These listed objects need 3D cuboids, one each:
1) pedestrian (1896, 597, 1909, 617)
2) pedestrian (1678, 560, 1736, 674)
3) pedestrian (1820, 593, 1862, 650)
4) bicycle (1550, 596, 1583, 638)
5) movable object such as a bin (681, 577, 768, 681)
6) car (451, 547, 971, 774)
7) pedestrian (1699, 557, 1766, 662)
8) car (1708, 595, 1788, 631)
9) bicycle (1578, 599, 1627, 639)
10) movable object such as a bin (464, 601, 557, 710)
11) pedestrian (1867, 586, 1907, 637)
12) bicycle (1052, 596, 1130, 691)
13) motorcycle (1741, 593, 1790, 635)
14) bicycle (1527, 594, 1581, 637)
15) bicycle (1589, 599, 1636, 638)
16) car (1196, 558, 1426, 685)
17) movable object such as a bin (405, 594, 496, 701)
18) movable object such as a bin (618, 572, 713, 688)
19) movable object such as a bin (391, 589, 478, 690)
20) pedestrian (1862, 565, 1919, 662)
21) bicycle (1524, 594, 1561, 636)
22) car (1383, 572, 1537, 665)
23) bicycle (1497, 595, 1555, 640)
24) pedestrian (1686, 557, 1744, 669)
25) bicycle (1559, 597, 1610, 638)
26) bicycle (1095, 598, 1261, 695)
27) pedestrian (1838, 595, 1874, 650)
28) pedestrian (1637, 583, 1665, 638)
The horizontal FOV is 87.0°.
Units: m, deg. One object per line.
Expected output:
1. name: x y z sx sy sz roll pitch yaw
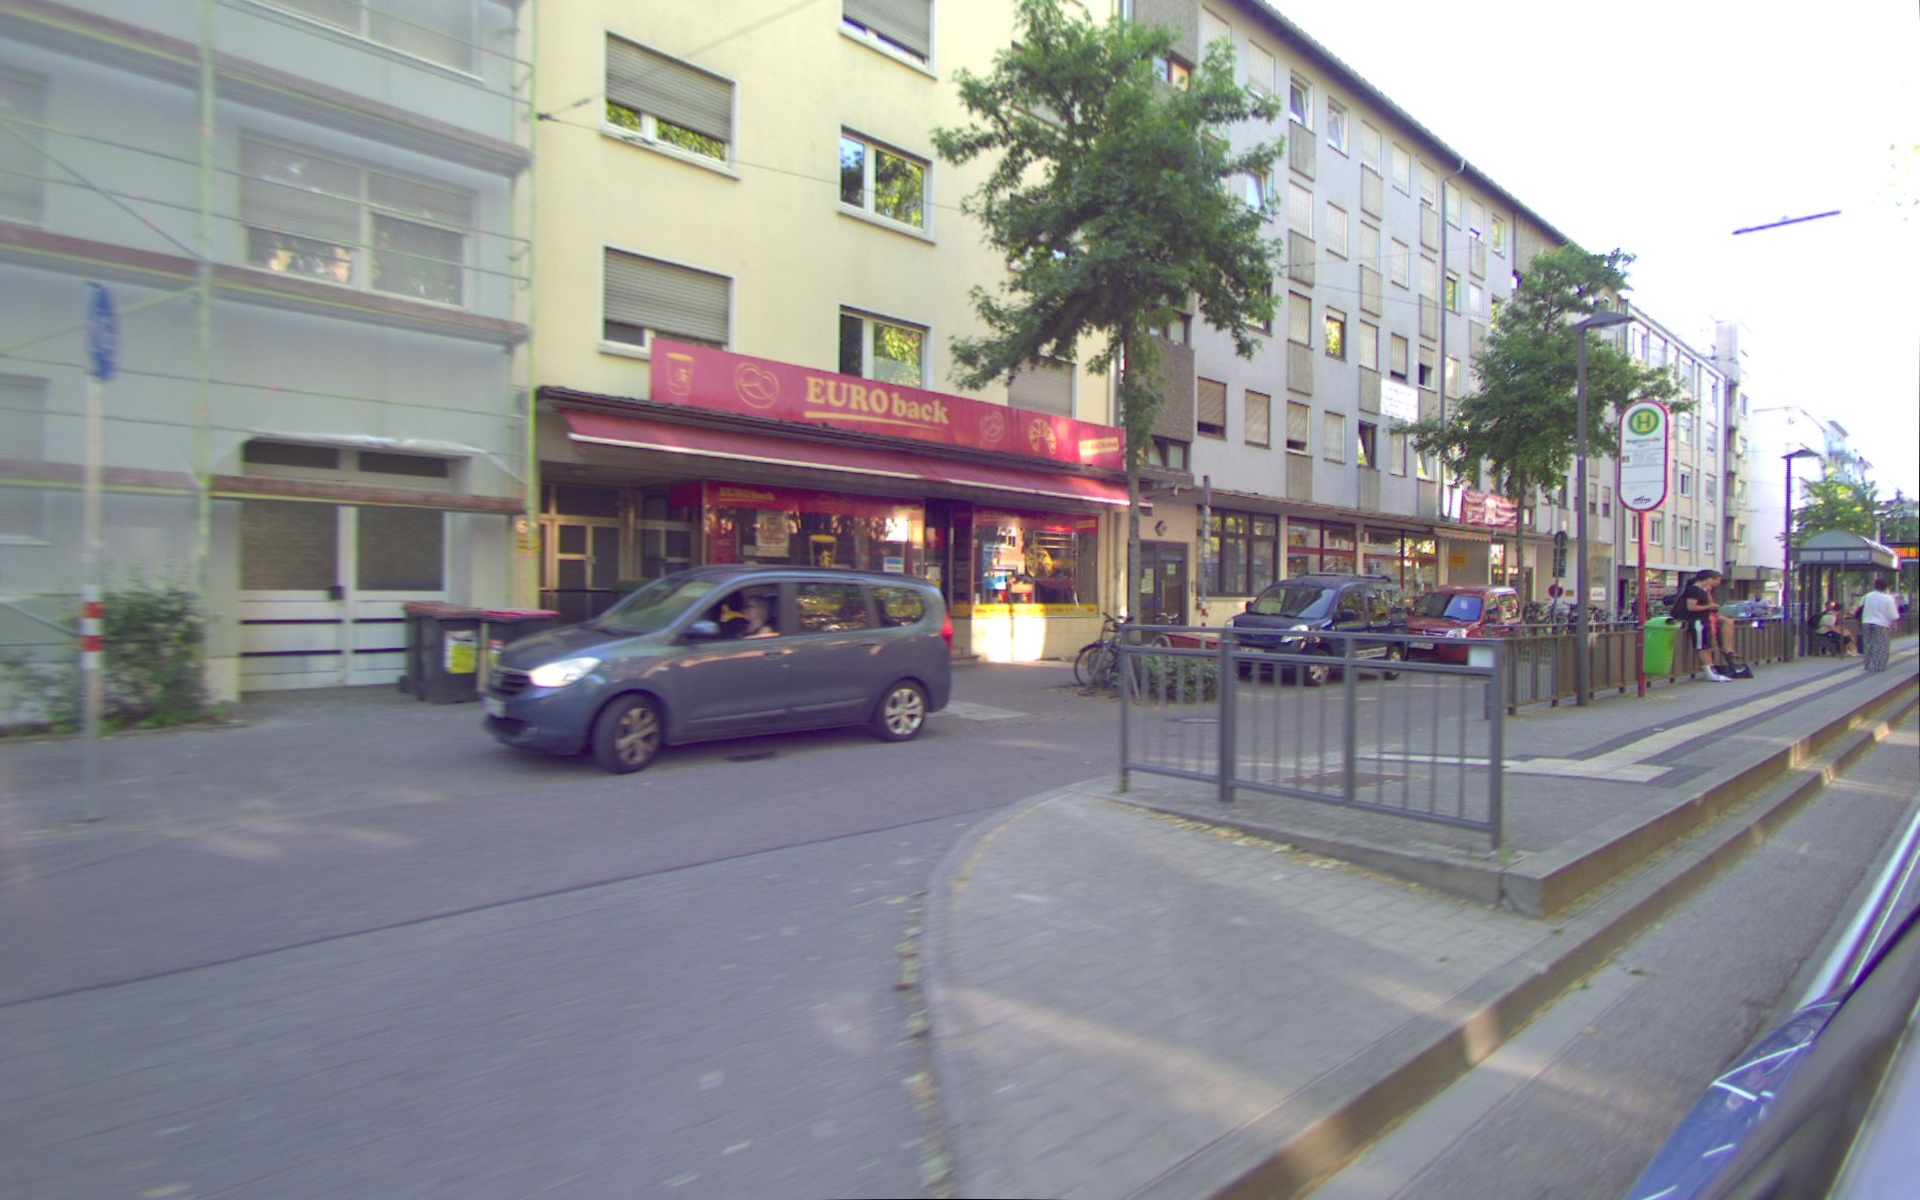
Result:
1. pedestrian: 80.550 0.577 86.474 0.954 1.675 0.750 0 -1 -44
2. pedestrian: 11.925 0.265 16.154 0.687 1.777 0.571 -1 -1 42
3. pedestrian: 21.114 0.515 24.260 0.717 1.343 0.487 -1 -1 37
4. bicycle: 19.082 0.510 31.849 0.768 1.194 2.752 7 4 31
5. movable object such as a bin: -3.283 0.377 14.098 0.811 1.367 0.924 0 2 -44
6. car: -2.121 0.425 9.430 4.364 1.642 1.766 1 2 -41
7. pedestrian: 13.007 0.157 17.036 0.843 1.722 0.682 -1 -1 42
8. car: 35.489 0.561 45.515 4.578 1.502 1.956 0 -1 -41
9. bicycle: 21.134 0.628 33.275 0.771 1.194 2.739 8 4 43
10. movable object such as a bin: -5.020 0.590 11.294 0.685 1.124 0.881 0 2 -44
11. pedestrian: 29.710 0.362 32.439 0.836 1.596 0.650 0 -1 -25
12. bicycle: 1.960 0.588 14.891 0.676 1.224 2.198 2 2 19
13. motorcycle: 29.207 0.497 36.687 2.171 1.473 1.053 0 0 -43
14. bicycle: 18.227 0.482 31.022 0.771 1.194 2.739 8 4 43
15. bicycle: 22.486 0.642 34.849 0.771 1.194 2.739 7 4 43
16. car: 6.318 0.319 18.046 4.120 1.919 1.998 0 4 -41
17. movable object such as a bin: -5.755 0.507 11.421 0.685 1.124 0.881 0 2 -44
18. movable object such as a bin: -3.846 0.361 13.201 0.811 1.414 1.000 0 2 -44
19. movable object such as a bin: -6.248 0.443 12.020 0.685 1.124 0.881 0 2 -44
20. pedestrian: 17.170 0.235 18.574 0.629 1.734 0.835 0 -1 -41
21. bicycle: 18.348 0.453 31.844 0.768 1.194 2.750 7 4 32
22. car: 11.137 0.348 22.422 4.105 1.776 1.691 0 4 -44
23. bicycle: 16.369 0.466 29.242 0.771 1.194 2.740 5 4 43
24. pedestrian: 12.415 0.211 16.638 0.689 1.792 0.495 0 -1 -28
25. bicycle: 19.937 0.565 32.298 0.771 1.194 2.739 8 4 43
26. bicycle: 3.178 0.628 14.921 1.012 1.224 2.208 0 2 -42
27. pedestrian: 21.640 0.537 24.450 0.583 1.322 0.520 -1 -1 37
28. pedestrian: 23.351 0.353 34.218 0.677 1.827 0.762 -1 0 41
